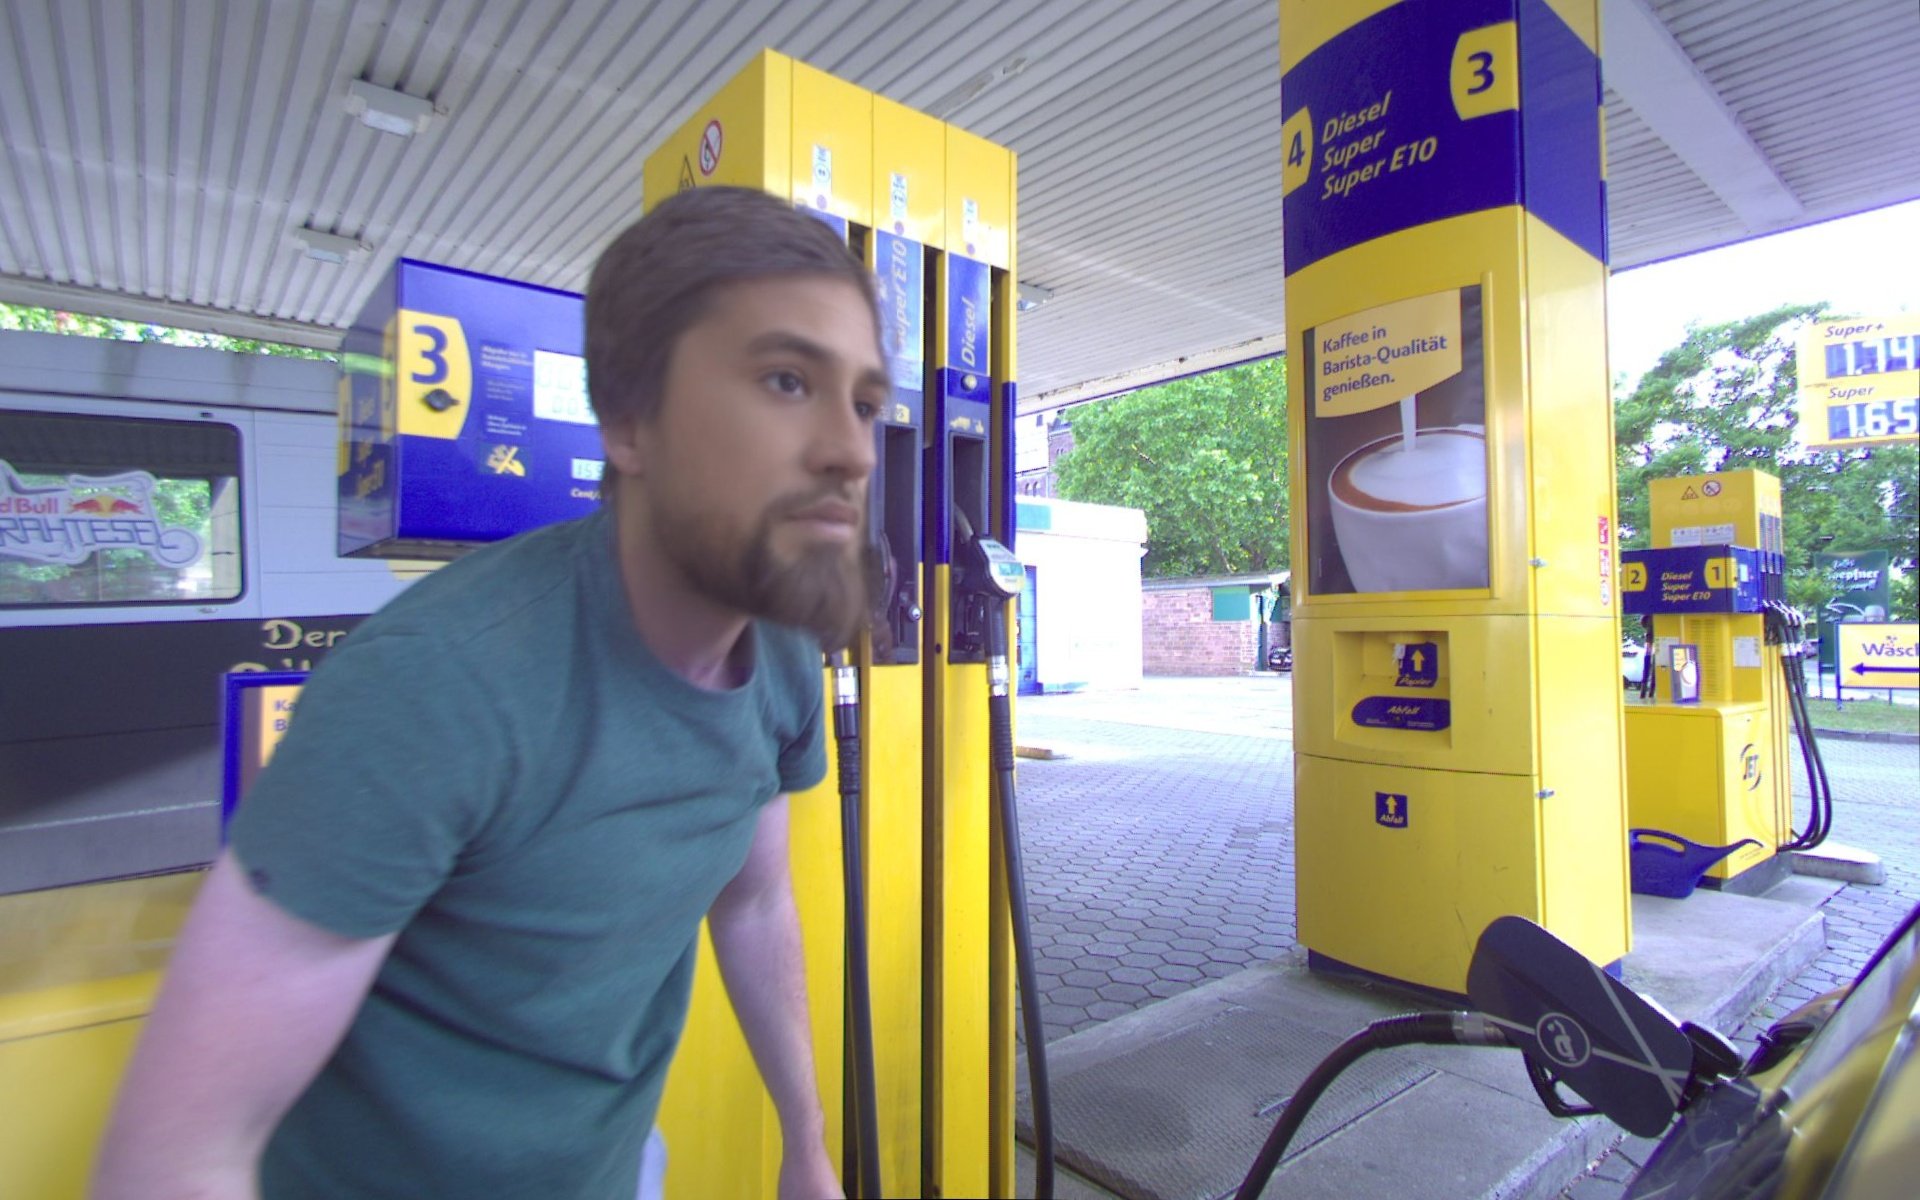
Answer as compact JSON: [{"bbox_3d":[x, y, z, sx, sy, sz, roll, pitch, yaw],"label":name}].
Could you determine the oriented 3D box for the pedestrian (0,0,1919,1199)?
[{"bbox_3d":[-0.296,0.535,0.771,1.163,1.750,0.992,-1,1,8],"label":"pedestrian"}]

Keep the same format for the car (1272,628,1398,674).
[{"bbox_3d":[12.636,1.695,34.036,4.112,1.453,1.826,2,-3,-31],"label":"car"}]

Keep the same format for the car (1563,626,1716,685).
[{"bbox_3d":[18.248,1.483,27.139,4.112,1.478,1.826,2,-3,-31],"label":"car"}]

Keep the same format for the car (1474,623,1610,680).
[{"bbox_3d":[17.764,1.574,30.855,4.112,1.606,1.826,2,-3,-31],"label":"car"}]

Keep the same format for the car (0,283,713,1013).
[{"bbox_3d":[-4.103,0.189,4.858,5.248,2.760,2.201,0,-1,-39],"label":"car"}]

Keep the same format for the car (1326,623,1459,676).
[{"bbox_3d":[13.775,1.565,32.173,4.112,1.606,1.826,2,-3,-31],"label":"car"}]
